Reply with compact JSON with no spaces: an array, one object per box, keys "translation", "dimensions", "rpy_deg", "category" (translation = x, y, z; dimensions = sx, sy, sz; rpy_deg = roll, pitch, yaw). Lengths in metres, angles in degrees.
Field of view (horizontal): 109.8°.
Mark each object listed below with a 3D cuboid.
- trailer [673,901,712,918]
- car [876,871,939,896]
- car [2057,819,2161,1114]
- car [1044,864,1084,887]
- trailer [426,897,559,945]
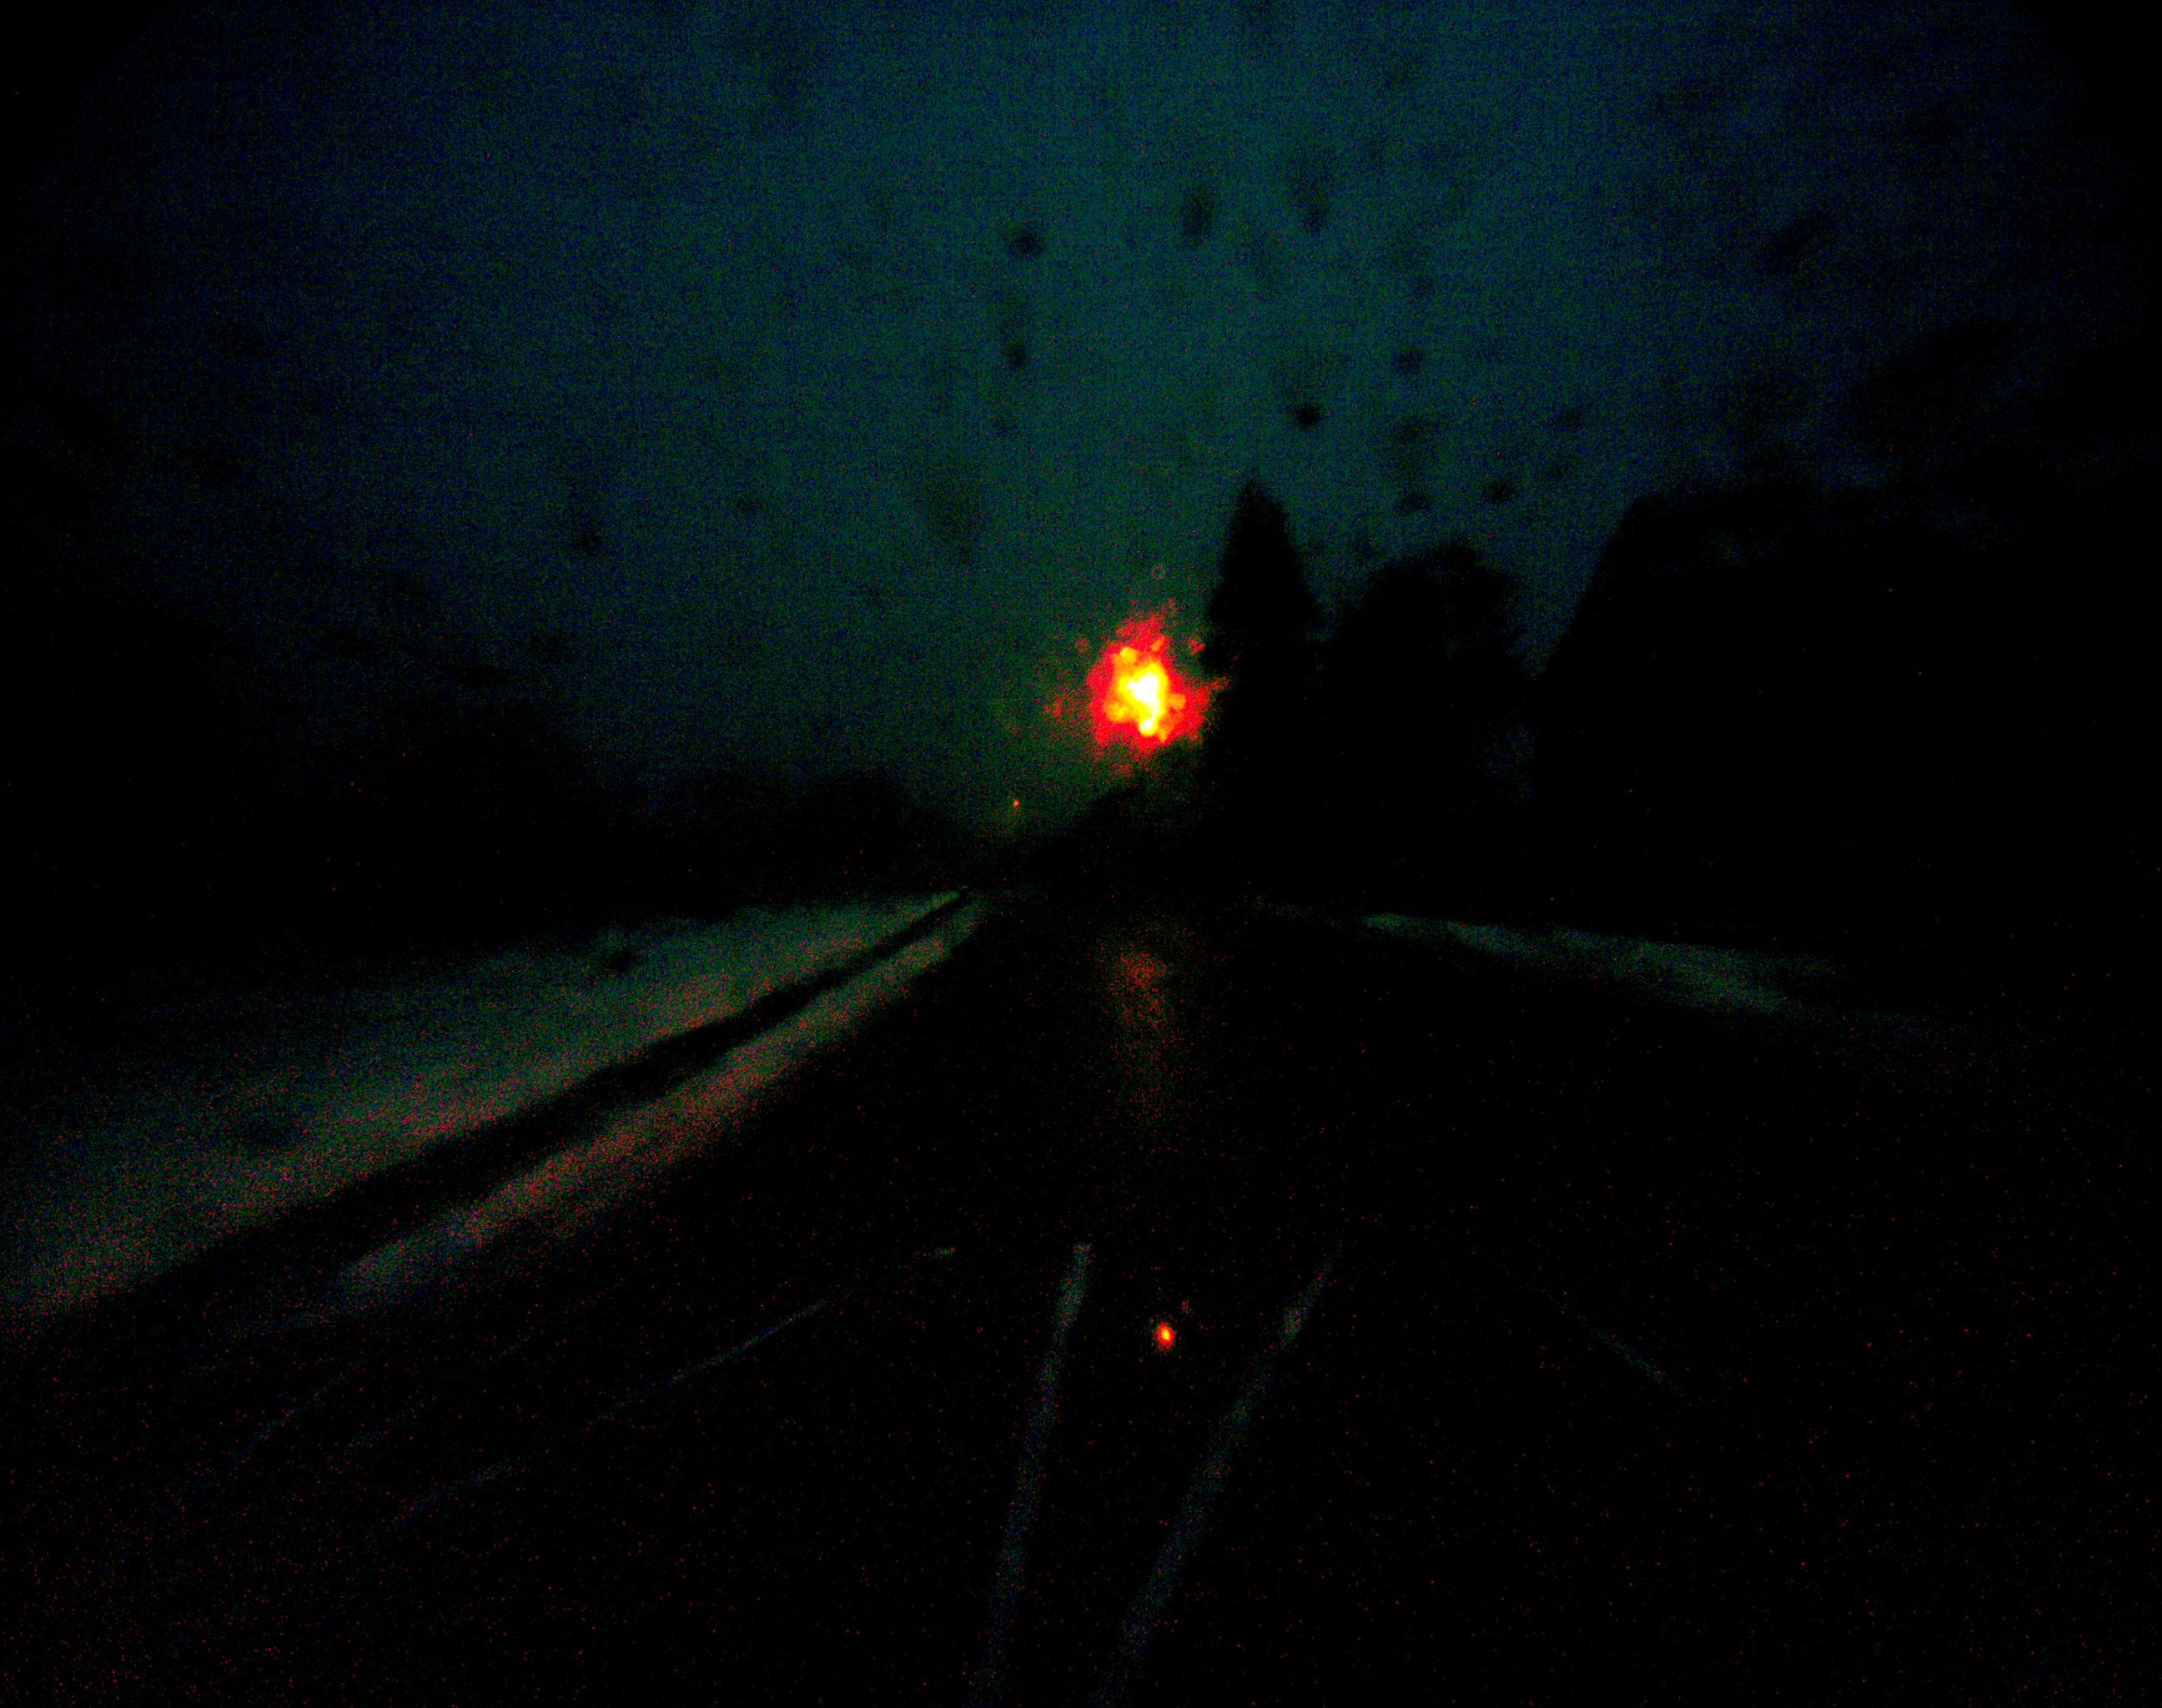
[{"translation":[-25.608,3.635,50.139],"dimensions":[1.851,0.940,3.657],"rpy_deg":[-1,-2,-20],"category":"trailer"},{"translation":[-13.282,2.262,58.349],"dimensions":[4.464,1.373,2.034],"rpy_deg":[-7,-1,-11],"category":"car"},{"translation":[7.309,0.638,2.265],"dimensions":[2.002,1.557,4.989],"rpy_deg":[1,1,-18],"category":"car"},{"translation":[-1.302,1.580,54.549],"dimensions":[1.883,1.417,5.388],"rpy_deg":[-4,-1,-11],"category":"car"},{"translation":[-29.797,3.363,38.669],"dimensions":[4.758,1.930,2.222],"rpy_deg":[-4,-1,-16],"category":"trailer"}]
